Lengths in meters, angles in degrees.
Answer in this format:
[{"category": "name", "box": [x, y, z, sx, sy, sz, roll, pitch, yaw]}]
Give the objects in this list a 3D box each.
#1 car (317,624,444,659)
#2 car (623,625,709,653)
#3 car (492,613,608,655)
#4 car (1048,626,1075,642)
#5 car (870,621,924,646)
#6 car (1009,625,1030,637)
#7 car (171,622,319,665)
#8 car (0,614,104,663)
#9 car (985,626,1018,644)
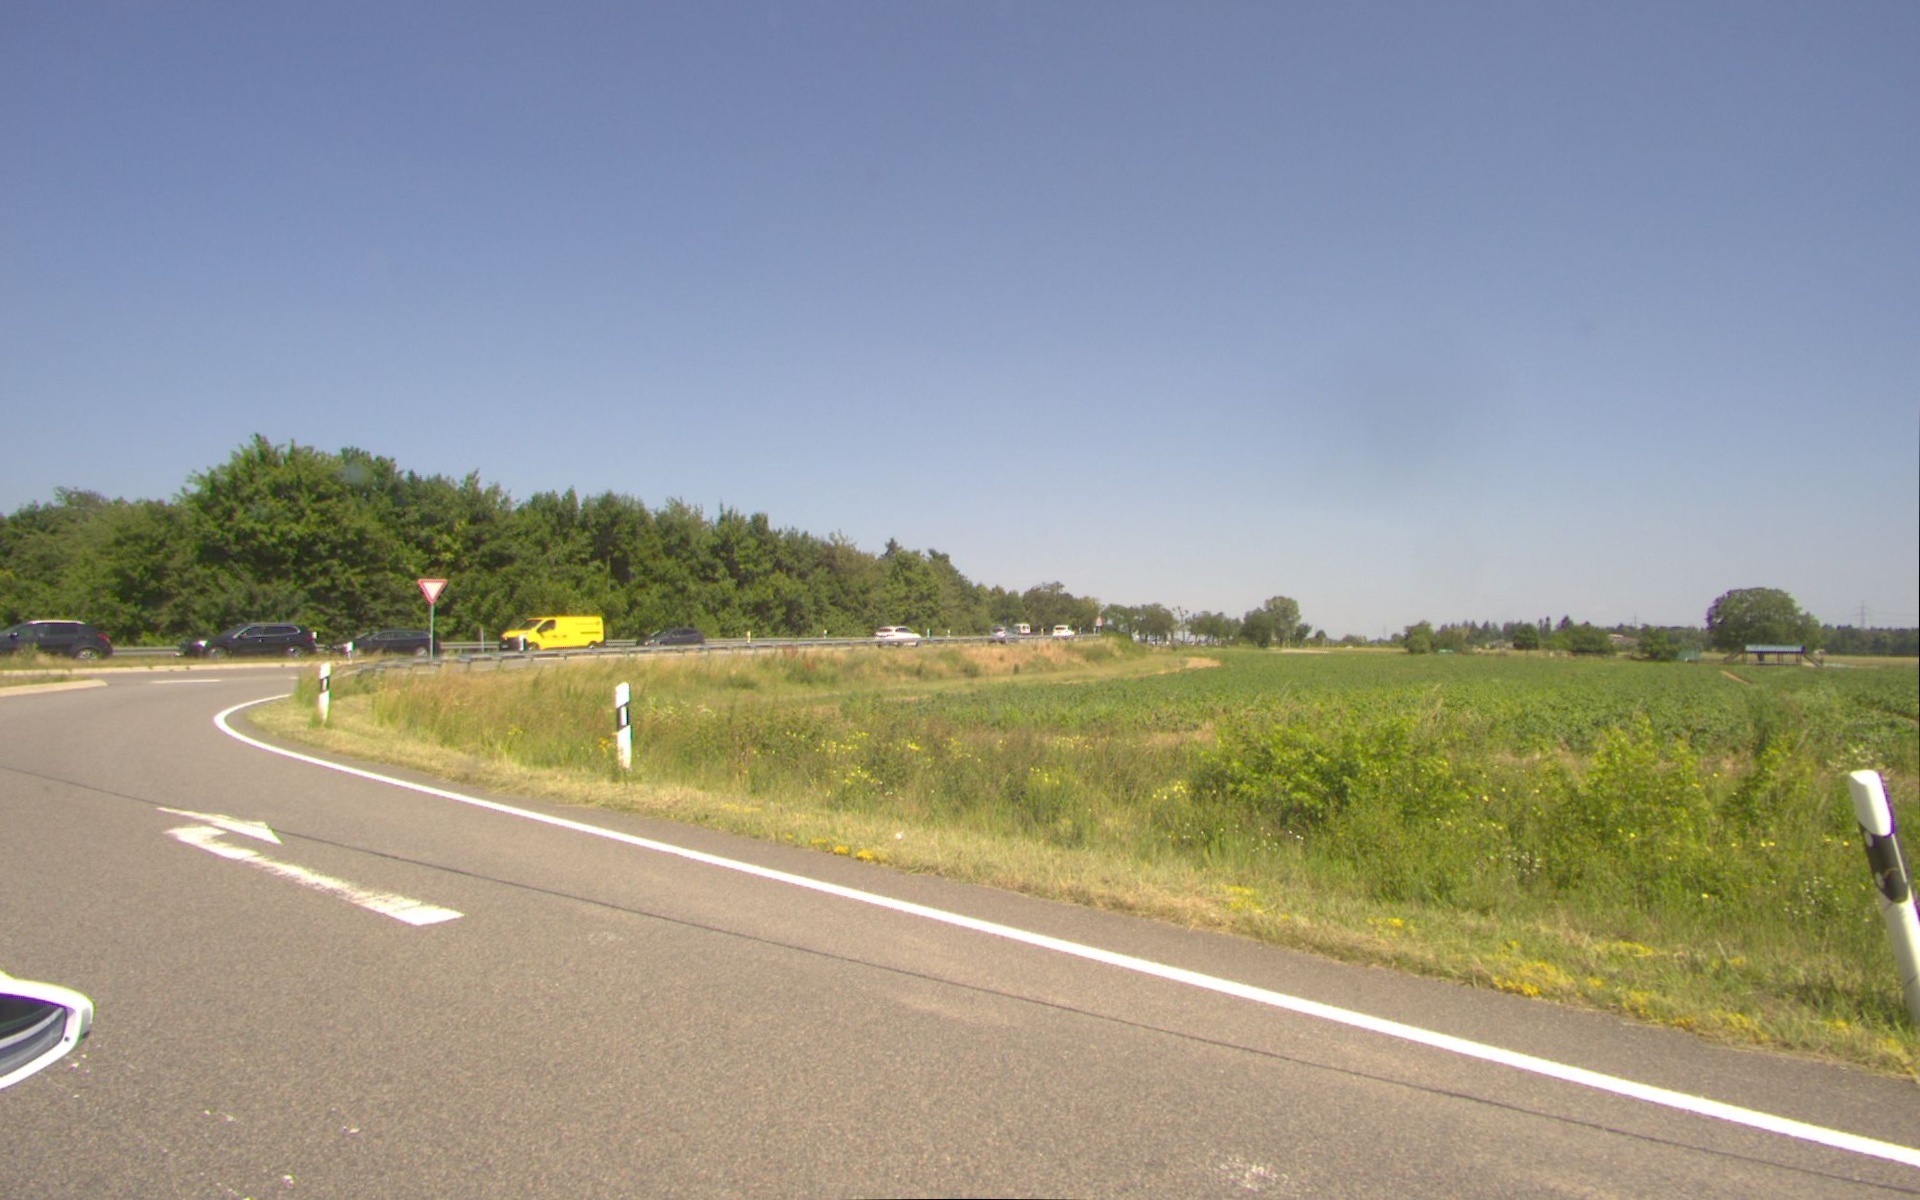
[{"category": "car", "box": [-26.220, 1.848, 45.410, 1.831, 1.533, 4.664, -1, -2, 39]}, {"category": "car", "box": [-16.774, 2.213, 57.273, 1.828, 1.533, 4.671, -1, -2, 34]}, {"category": "car", "box": [-20.728, 1.723, 50.835, 1.972, 2.039, 5.311, -1, -2, 33]}, {"category": "car", "box": [10.615, 3.547, 104.789, 1.709, 1.587, 4.474, -1, -2, 21]}, {"category": "car", "box": [-4.383, 2.340, 70.561, 1.713, 1.587, 4.464, -1, 0, 29]}, {"category": "car", "box": [8.091, 4.238, 137.360, 1.687, 1.589, 3.995, 0, -2, -16]}, {"category": "car", "box": [-28.210, 1.692, 39.646, 1.744, 1.618, 4.475, -1, -2, 34]}, {"category": "car", "box": [-33.159, 1.365, 35.531, 1.818, 1.661, 3.972, -1, -2, 37]}, {"category": "car", "box": [3.626, 3.056, 87.409, 1.710, 1.587, 3.684, -1, -2, 23]}]
